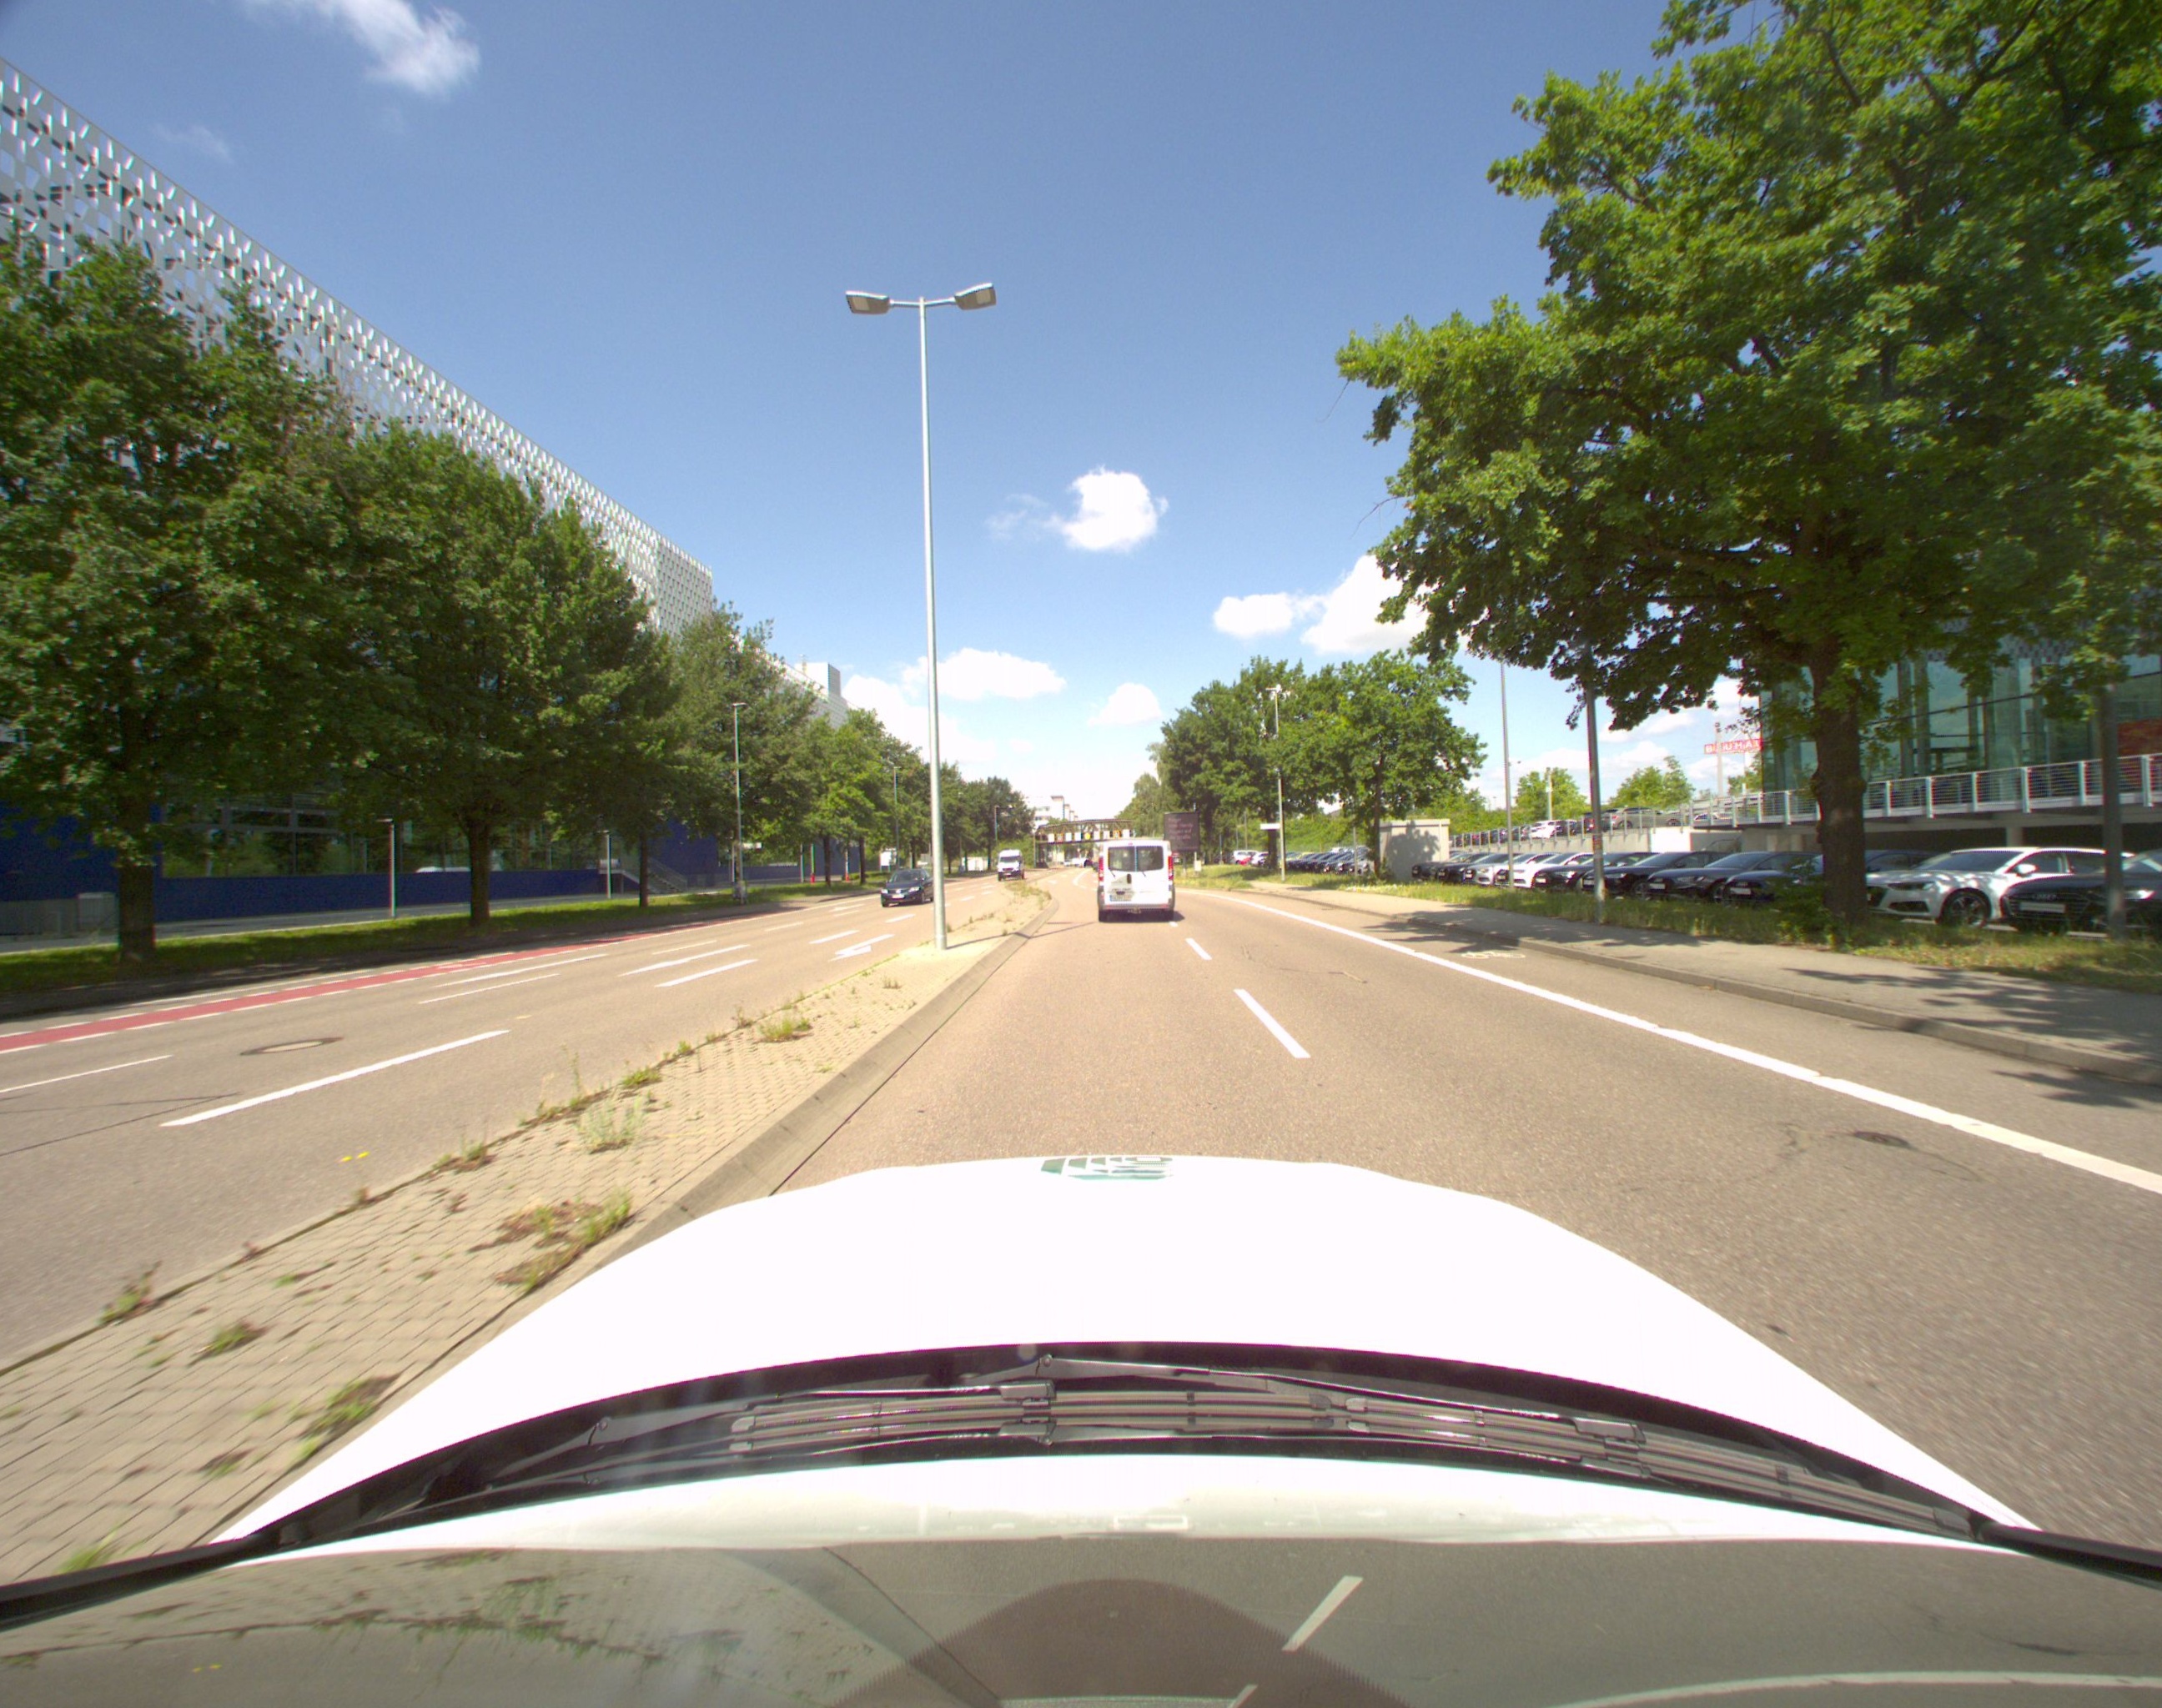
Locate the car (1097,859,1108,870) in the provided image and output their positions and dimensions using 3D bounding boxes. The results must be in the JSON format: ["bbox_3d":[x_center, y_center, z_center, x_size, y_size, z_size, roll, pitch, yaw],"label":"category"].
[{"bbox_3d":[4.102,2.066,155.555,1.986,2.014,4.002,-2,-1,2],"label":"car"}]

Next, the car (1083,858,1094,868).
[{"bbox_3d":[1.601,1.881,166.841,1.985,1.771,4.004,-1,1,3],"label":"car"}]

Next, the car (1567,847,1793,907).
[{"bbox_3d":[15.628,0.575,21.430,4.558,1.404,1.908,-1,1,1],"label":"car"}]

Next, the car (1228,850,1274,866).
[{"bbox_3d":[17.339,0.428,83.343,4.340,1.512,1.936,-1,1,0],"label":"car"}]

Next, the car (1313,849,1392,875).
[{"bbox_3d":[17.059,0.468,51.305,4.340,1.512,1.936,-1,1,0],"label":"car"}]

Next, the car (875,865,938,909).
[{"bbox_3d":[-7.553,1.395,35.705,1.733,1.610,4.240,-5,0,-1],"label":"car"}]

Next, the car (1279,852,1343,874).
[{"bbox_3d":[17.398,0.669,61.761,4.340,1.512,1.936,-1,1,0],"label":"car"}]

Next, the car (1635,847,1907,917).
[{"bbox_3d":[15.533,0.598,18.526,4.558,1.404,1.908,-1,1,1],"label":"car"}]

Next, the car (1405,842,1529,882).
[{"bbox_3d":[16.190,0.327,34.304,4.338,1.513,1.856,-2,-1,2],"label":"car"}]

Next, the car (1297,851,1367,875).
[{"bbox_3d":[17.456,0.592,56.810,4.340,1.512,1.936,-1,1,0],"label":"car"}]

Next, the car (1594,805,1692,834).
[{"bbox_3d":[32.624,-1.976,47.384,4.334,1.551,1.939,-1,1,4],"label":"car"}]

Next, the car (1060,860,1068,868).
[{"bbox_3d":[-4.738,2.852,228.661,1.985,2.014,4.004,-2,-1,4],"label":"car"}]

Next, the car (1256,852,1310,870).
[{"bbox_3d":[17.901,0.614,72.341,4.340,1.512,1.936,-1,1,0],"label":"car"}]

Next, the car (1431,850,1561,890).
[{"bbox_3d":[15.987,0.602,31.529,4.091,1.445,1.856,-1,0,2],"label":"car"}]

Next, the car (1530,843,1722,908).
[{"bbox_3d":[15.861,0.602,23.868,4.331,1.512,1.787,4,1,1],"label":"car"}]

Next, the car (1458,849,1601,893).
[{"bbox_3d":[15.941,0.583,29.077,4.092,1.404,1.818,-2,0,1],"label":"car"}]

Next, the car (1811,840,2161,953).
[{"bbox_3d":[15.348,0.643,13.632,4.558,1.678,1.908,-1,1,1],"label":"car"}]

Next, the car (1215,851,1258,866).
[{"bbox_3d":[17.204,0.472,90.250,4.340,1.512,1.936,-1,1,0],"label":"car"}]

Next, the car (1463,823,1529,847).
[{"bbox_3d":[33.132,-1.529,65.072,4.334,1.774,1.939,-1,1,4],"label":"car"}]

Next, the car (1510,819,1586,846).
[{"bbox_3d":[33.047,-1.509,57.716,4.334,1.774,1.939,-1,1,4],"label":"car"}]

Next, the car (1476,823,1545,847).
[{"bbox_3d":[33.058,-1.490,62.743,4.334,1.774,1.939,-1,1,4],"label":"car"}]

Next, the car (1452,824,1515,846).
[{"bbox_3d":[33.616,-1.585,68.071,4.334,1.774,1.939,-1,1,4],"label":"car"}]

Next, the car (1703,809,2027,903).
[{"bbox_3d":[15.266,0.015,16.067,4.558,1.678,1.908,-1,1,1],"label":"car"}]

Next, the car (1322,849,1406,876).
[{"bbox_3d":[16.925,0.506,48.822,4.340,1.512,1.936,-1,1,0],"label":"car"}]

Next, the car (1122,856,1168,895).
[{"bbox_3d":[2.905,0.956,37.800,1.768,1.629,4.000,-1,1,0],"label":"car"}]

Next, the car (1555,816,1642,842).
[{"bbox_3d":[33.313,-1.623,52.531,4.334,1.551,1.939,-1,1,4],"label":"car"}]

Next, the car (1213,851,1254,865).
[{"bbox_3d":[17.623,0.483,94.070,4.340,1.512,1.936,-1,1,0],"label":"car"}]

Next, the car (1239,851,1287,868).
[{"bbox_3d":[18.017,0.551,80.581,4.340,1.512,1.936,-1,1,0],"label":"car"}]

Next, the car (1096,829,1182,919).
[{"bbox_3d":[1.436,0.440,21.346,1.965,2.059,4.567,-1,1,2],"label":"car"}]

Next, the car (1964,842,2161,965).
[{"bbox_3d":[15.408,0.579,11.117,4.558,1.499,1.908,-2,-1,1],"label":"car"}]

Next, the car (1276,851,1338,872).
[{"bbox_3d":[17.794,0.612,64.221,4.340,1.512,1.936,-1,1,0],"label":"car"}]

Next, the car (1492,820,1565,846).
[{"bbox_3d":[33.165,-1.553,60.464,4.334,1.774,1.939,-1,1,4],"label":"car"}]

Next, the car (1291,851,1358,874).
[{"bbox_3d":[17.695,0.629,59.301,4.340,1.512,1.936,-1,1,0],"label":"car"}]

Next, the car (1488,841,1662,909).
[{"bbox_3d":[16.064,0.656,26.655,4.558,2.049,1.908,-1,1,1],"label":"car"}]

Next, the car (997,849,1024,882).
[{"bbox_3d":[-6.452,1.032,74.976,2.018,2.893,6.376,-2,-1,-2],"label":"car"}]

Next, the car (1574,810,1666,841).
[{"bbox_3d":[32.897,-1.713,49.796,4.334,1.774,1.939,-1,1,4],"label":"car"}]

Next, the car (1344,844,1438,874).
[{"bbox_3d":[16.633,0.262,43.845,4.340,1.512,1.936,-1,1,0],"label":"car"}]

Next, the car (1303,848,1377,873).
[{"bbox_3d":[17.215,0.432,54.216,4.340,1.512,1.936,-1,1,0],"label":"car"}]

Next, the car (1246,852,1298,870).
[{"bbox_3d":[17.585,0.602,75.102,4.340,1.512,1.936,-1,1,0],"label":"car"}]

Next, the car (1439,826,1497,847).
[{"bbox_3d":[34.750,-1.565,73.225,4.334,1.774,1.939,-1,1,4],"label":"car"}]

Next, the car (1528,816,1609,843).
[{"bbox_3d":[32.961,-1.647,55.183,4.334,1.774,1.939,-1,1,4],"label":"car"}]
